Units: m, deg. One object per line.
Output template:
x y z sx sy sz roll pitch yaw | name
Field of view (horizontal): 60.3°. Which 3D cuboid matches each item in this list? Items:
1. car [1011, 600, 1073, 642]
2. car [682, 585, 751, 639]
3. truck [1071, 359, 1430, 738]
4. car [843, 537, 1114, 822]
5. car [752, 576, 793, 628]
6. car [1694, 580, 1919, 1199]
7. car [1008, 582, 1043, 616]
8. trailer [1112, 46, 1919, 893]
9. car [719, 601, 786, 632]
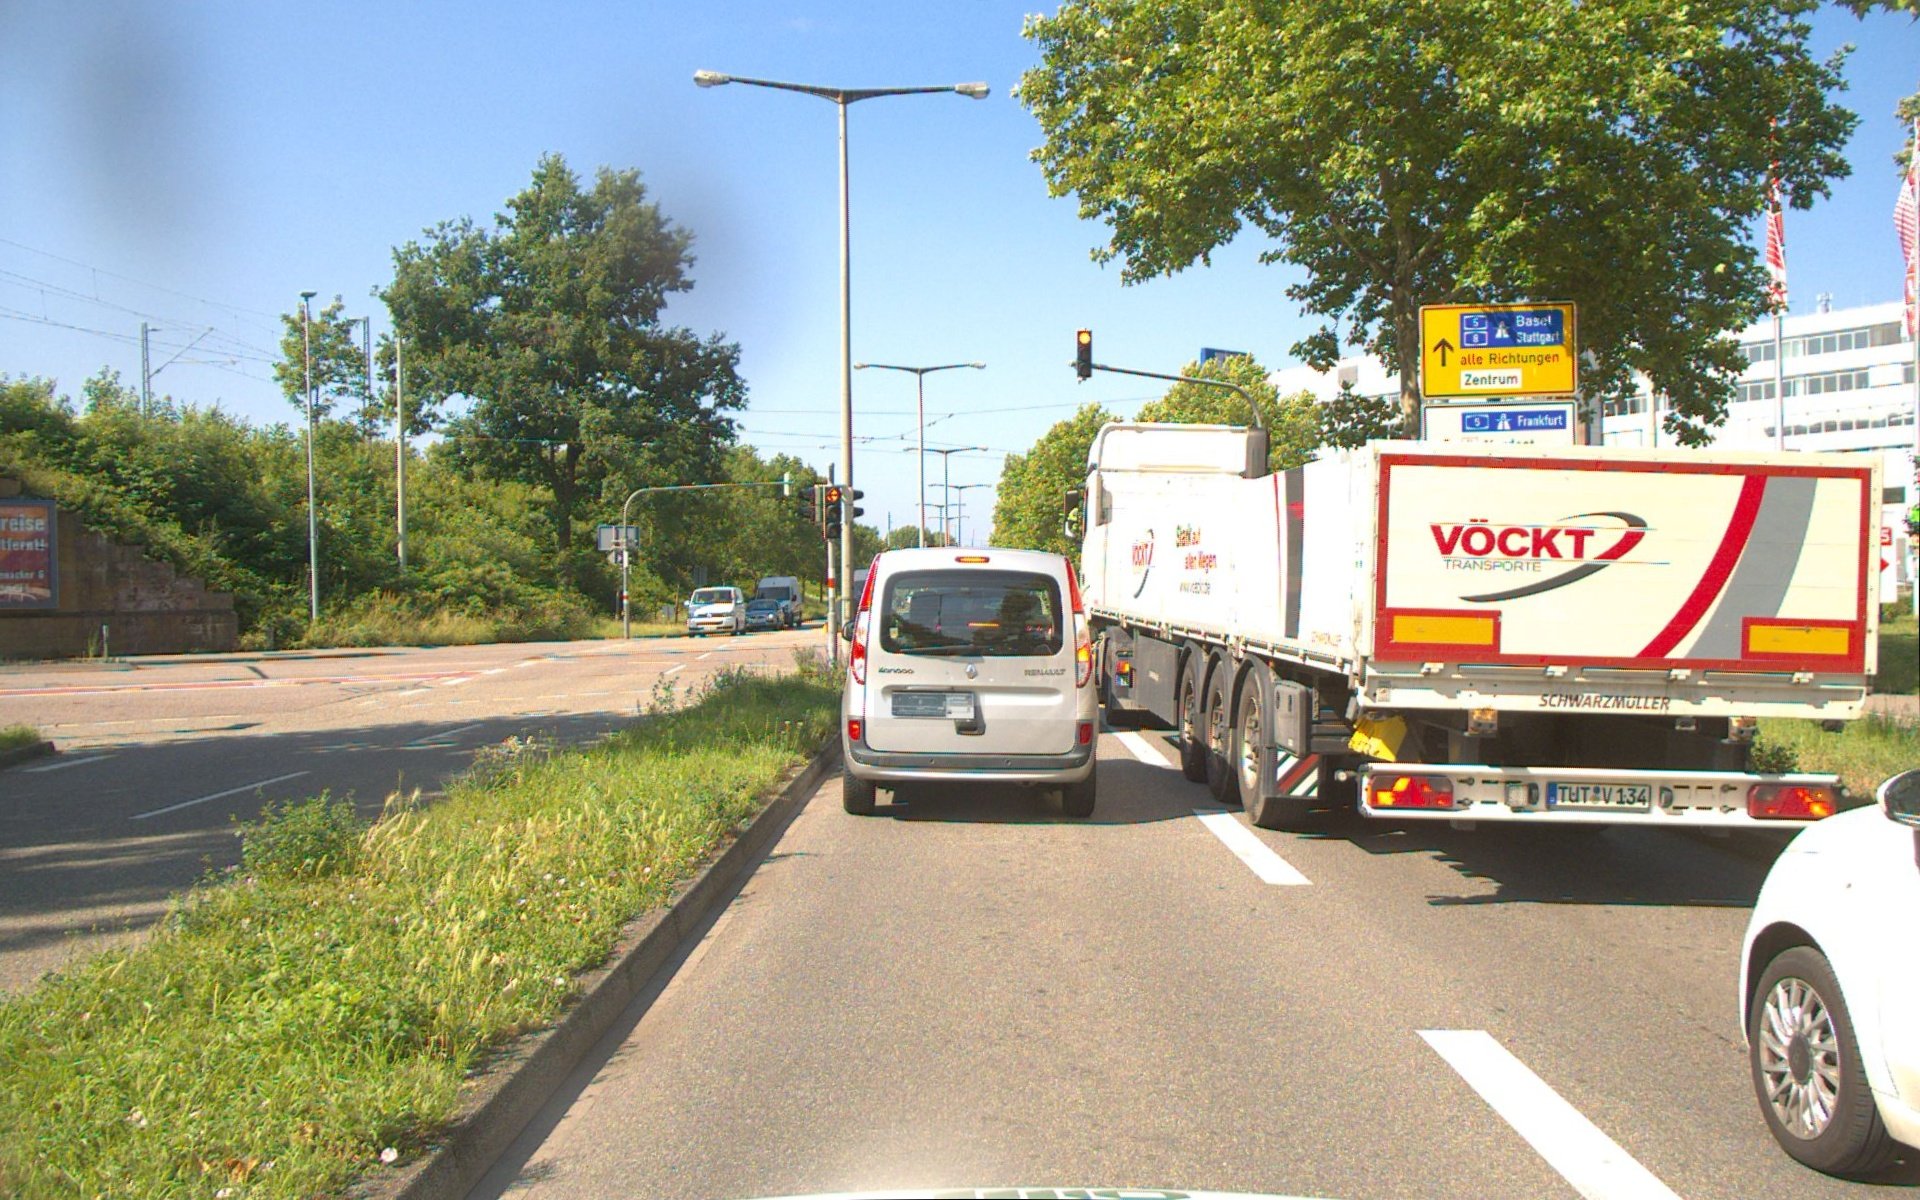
3.287 0.827 67.338 1.955 1.668 3.995 0 0 -6 | car
-9.382 0.441 64.151 1.953 1.924 4.986 -3 0 -1 | car
3.209 -0.519 20.550 3.009 3.823 7.474 0 0 -1 | truck
0.099 0.511 12.502 1.713 1.803 3.948 0 0 -1 | car
-9.799 0.104 86.485 2.019 2.660 5.861 0 0 -6 | car
3.030 0.691 3.298 1.627 1.461 3.520 0 0 1 | car
4.080 -0.071 102.994 1.953 2.049 3.999 0 0 -1 | car
3.294 -0.582 13.586 2.954 3.806 12.239 0 0 0 | trailer
-9.843 0.759 78.202 1.888 1.433 4.190 0 0 -27 | car
